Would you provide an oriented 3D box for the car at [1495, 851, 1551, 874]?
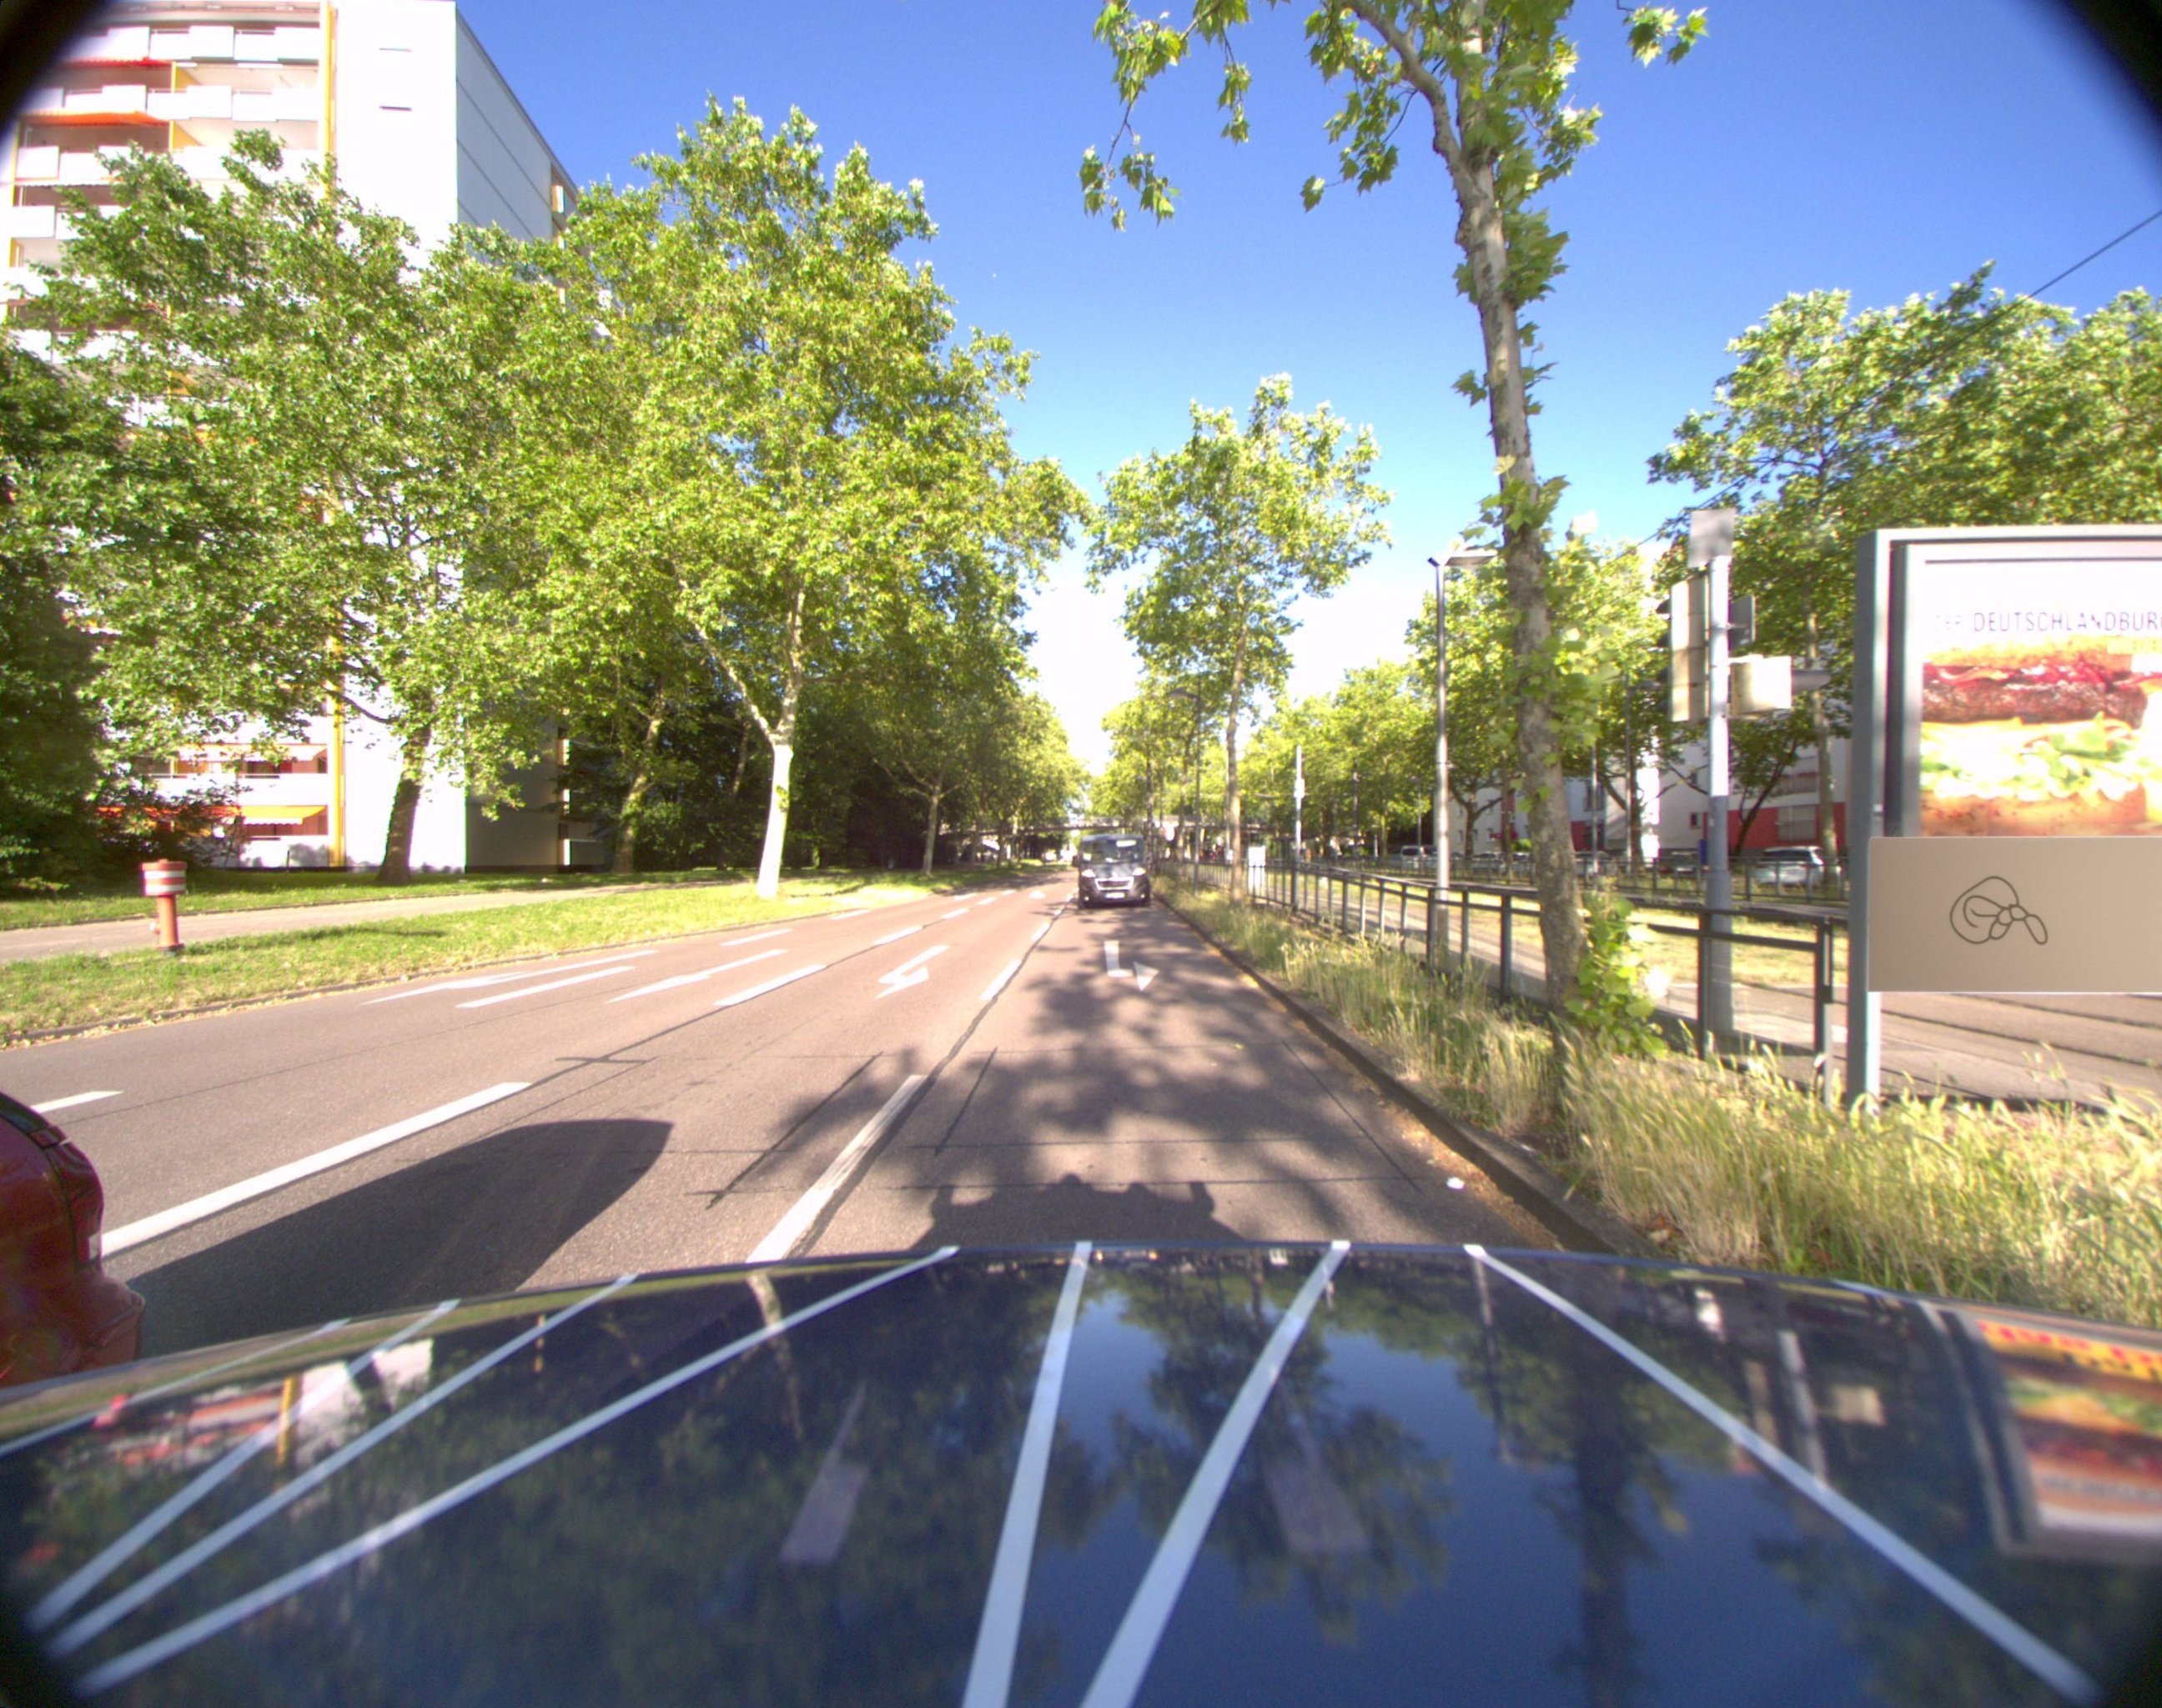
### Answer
[{"bbox_3d":[26.188,0.482,44.943,3.689,1.234,1.645,-1,1,-39],"label":"car"}]

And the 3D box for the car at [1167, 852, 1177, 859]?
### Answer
[{"bbox_3d":[21.509,0.414,180.019,1.923,1.565,4.368,-1,0,2],"label":"car"}]

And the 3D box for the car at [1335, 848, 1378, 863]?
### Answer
[{"bbox_3d":[26.574,0.100,73.261,4.376,1.367,1.919,-1,1,-39],"label":"car"}]

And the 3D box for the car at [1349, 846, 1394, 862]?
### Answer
[{"bbox_3d":[26.920,-0.013,70.275,4.376,1.367,1.919,-1,1,-39],"label":"car"}]

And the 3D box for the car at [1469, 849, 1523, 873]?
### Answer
[{"bbox_3d":[25.944,0.415,47.478,3.689,1.440,1.645,-1,1,-39],"label":"car"}]

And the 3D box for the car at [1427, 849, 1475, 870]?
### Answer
[{"bbox_3d":[26.232,0.348,53.881,3.689,1.388,1.645,-1,1,-39],"label":"car"}]

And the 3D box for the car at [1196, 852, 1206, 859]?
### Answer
[{"bbox_3d":[25.829,0.338,163.202,1.672,1.351,3.295,-1,0,1],"label":"car"}]

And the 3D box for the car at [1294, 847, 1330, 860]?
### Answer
[{"bbox_3d":[27.186,-0.058,89.411,4.376,1.367,1.919,-1,1,-39],"label":"car"}]

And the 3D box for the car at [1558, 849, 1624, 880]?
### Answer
[{"bbox_3d":[25.318,0.501,37.673,3.689,1.384,1.645,-1,1,-38],"label":"car"}]

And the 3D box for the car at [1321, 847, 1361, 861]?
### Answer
[{"bbox_3d":[27.228,0.025,79.558,4.376,1.367,1.919,-1,1,-39],"label":"car"}]

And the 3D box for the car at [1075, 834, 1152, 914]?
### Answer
[{"bbox_3d":[0.913,0.518,23.088,2.040,2.102,5.113,-1,0,1],"label":"car"}]

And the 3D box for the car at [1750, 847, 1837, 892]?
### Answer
[{"bbox_3d":[25.045,0.494,26.669,3.689,1.425,1.683,-1,1,-38],"label":"car"}]

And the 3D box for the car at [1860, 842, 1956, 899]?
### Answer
[{"bbox_3d":[25.007,0.462,22.943,3.689,1.558,1.683,-1,1,-38],"label":"car"}]

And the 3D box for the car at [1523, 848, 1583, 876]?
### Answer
[{"bbox_3d":[25.799,0.429,41.501,3.689,1.440,1.645,-1,1,-39],"label":"car"}]

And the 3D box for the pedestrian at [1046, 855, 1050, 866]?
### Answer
[{"bbox_3d":[-4.505,0.901,104.125,0.397,1.454,0.418,0,1,44],"label":"pedestrian"}]

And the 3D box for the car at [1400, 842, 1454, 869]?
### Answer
[{"bbox_3d":[25.948,0.085,56.975,4.376,1.873,1.919,-1,1,-39],"label":"car"}]
